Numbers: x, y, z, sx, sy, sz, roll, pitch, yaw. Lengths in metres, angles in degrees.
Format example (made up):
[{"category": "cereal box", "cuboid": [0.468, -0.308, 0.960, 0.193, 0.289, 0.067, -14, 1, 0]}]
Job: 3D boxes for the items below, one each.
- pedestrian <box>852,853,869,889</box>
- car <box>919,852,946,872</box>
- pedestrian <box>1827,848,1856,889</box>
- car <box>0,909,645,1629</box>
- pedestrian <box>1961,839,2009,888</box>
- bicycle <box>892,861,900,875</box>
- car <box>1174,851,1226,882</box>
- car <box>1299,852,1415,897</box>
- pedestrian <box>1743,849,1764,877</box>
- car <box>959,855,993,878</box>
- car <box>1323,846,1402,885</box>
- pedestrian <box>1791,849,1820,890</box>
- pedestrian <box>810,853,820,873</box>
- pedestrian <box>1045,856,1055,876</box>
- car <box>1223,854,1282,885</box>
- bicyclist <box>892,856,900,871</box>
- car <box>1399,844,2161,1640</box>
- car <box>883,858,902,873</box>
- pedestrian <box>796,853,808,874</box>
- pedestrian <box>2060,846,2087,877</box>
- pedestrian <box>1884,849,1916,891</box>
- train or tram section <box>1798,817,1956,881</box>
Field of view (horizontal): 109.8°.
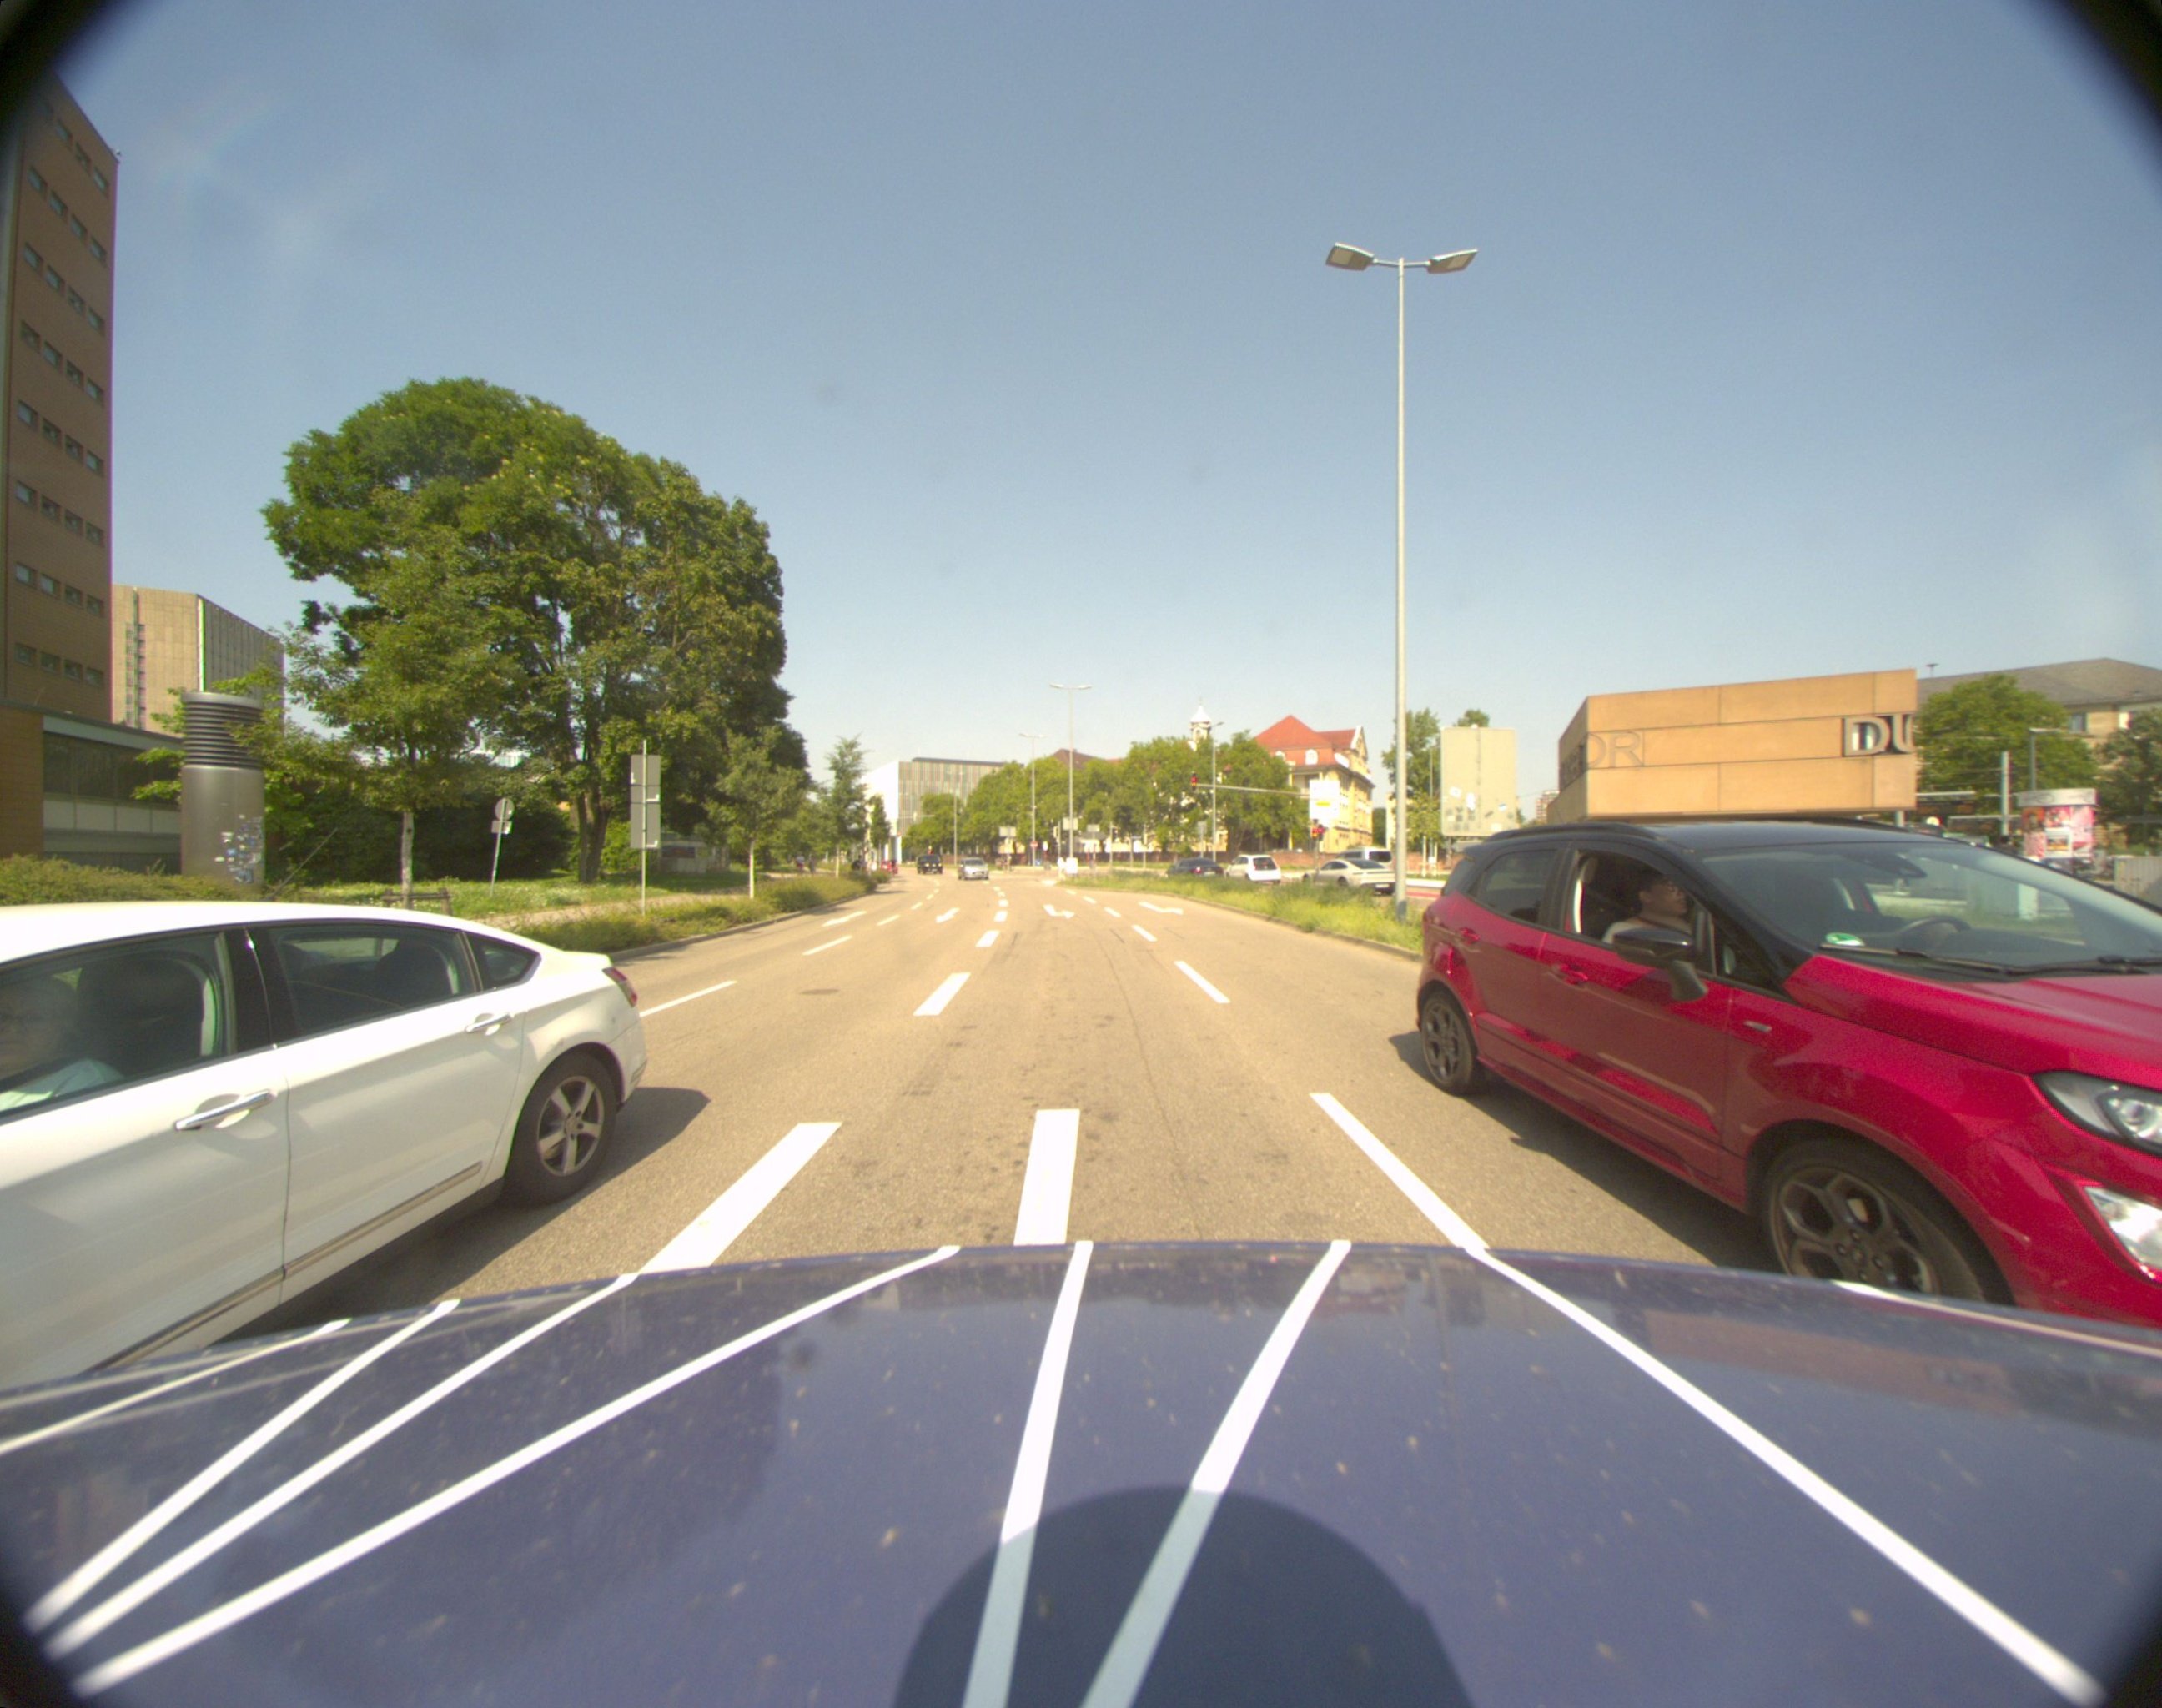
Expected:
[{"category": "pedestrian", "cuboid": [-11.801, 0.920, 40.674, 0.823, 1.892, 0.630, -1, 1, -12]}, {"category": "car", "cuboid": [-14.780, 0.790, 75.508, 1.893, 1.908, 4.526, -2, 0, -20]}, {"category": "pedestrian", "cuboid": [27.934, 0.524, 27.917, 0.539, 1.488, 0.541, 0, 1, -1]}, {"category": "car", "cuboid": [-3.302, 1.023, 1.849, 1.773, 1.420, 4.609, 0, 0, 1]}, {"category": "pedestrian", "cuboid": [27.962, 0.289, 23.515, 0.771, 1.488, 0.606, 0, 1, -1]}, {"category": "bicycle", "cuboid": [-16.689, 1.247, 68.697, 0.595, 1.162, 2.233, 0, 0, -12]}, {"category": "car", "cuboid": [5.721, 0.558, 36.844, 1.526, 1.417, 3.474, 0, 0, -8]}, {"category": "car", "cuboid": [10.439, 0.732, 29.204, 2.001, 1.576, 4.710, 0, 0, -12]}, {"category": "pedestrian", "cuboid": [26.824, 0.350, 30.329, 0.538, 1.093, 0.543, 0, 1, 32]}, {"category": "car", "cuboid": [-7.534, 0.851, 54.220, 1.661, 1.521, 4.527, -2, 0, -17]}, {"category": "car", "cuboid": [13.856, 0.527, 37.667, 1.869, 1.843, 3.911, 0, 1, -12]}, {"category": "pedestrian", "cuboid": [26.711, 0.554, 28.004, 0.539, 1.488, 0.541, 0, 1, -1]}, {"category": "pedestrian", "cuboid": [-17.598, 0.587, 50.296, 0.577, 1.291, 0.437, -3, 1, -18]}, {"category": "pedestrian", "cuboid": [-1.991, 0.770, 48.714, 0.605, 1.291, 0.617, -2, 1, -4]}, {"category": "car", "cuboid": [8.648, 0.740, 38.531, 1.527, 1.470, 3.473, 0, 0, -13]}, {"category": "bicyclist", "cuboid": [-16.682, 0.837, 68.615, 0.680, 1.392, 1.048, 0, 1, -11]}, {"category": "car", "cuboid": [3.026, 0.778, 3.421, 1.694, 1.577, 3.845, -2, 0, 3]}, {"category": "car", "cuboid": [-19.620, 1.171, 79.148, 1.652, 1.422, 3.810, -2, 0, -18]}, {"category": "pedestrian", "cuboid": [-18.362, 0.620, 50.003, 0.635, 1.291, 0.486, -3, 1, -17]}, {"category": "pedestrian", "cuboid": [44.641, 0.334, 34.188, 0.554, 1.386, 0.534, 0, 1, 28]}, {"category": "pedestrian", "cuboid": [28.841, 0.559, 26.753, 0.539, 1.488, 0.541, 0, 1, -1]}, {"category": "train or tram section", "cuboid": [48.490, -0.280, 46.922, 2.698, 3.418, 13.446, 0, 0, 28]}]
